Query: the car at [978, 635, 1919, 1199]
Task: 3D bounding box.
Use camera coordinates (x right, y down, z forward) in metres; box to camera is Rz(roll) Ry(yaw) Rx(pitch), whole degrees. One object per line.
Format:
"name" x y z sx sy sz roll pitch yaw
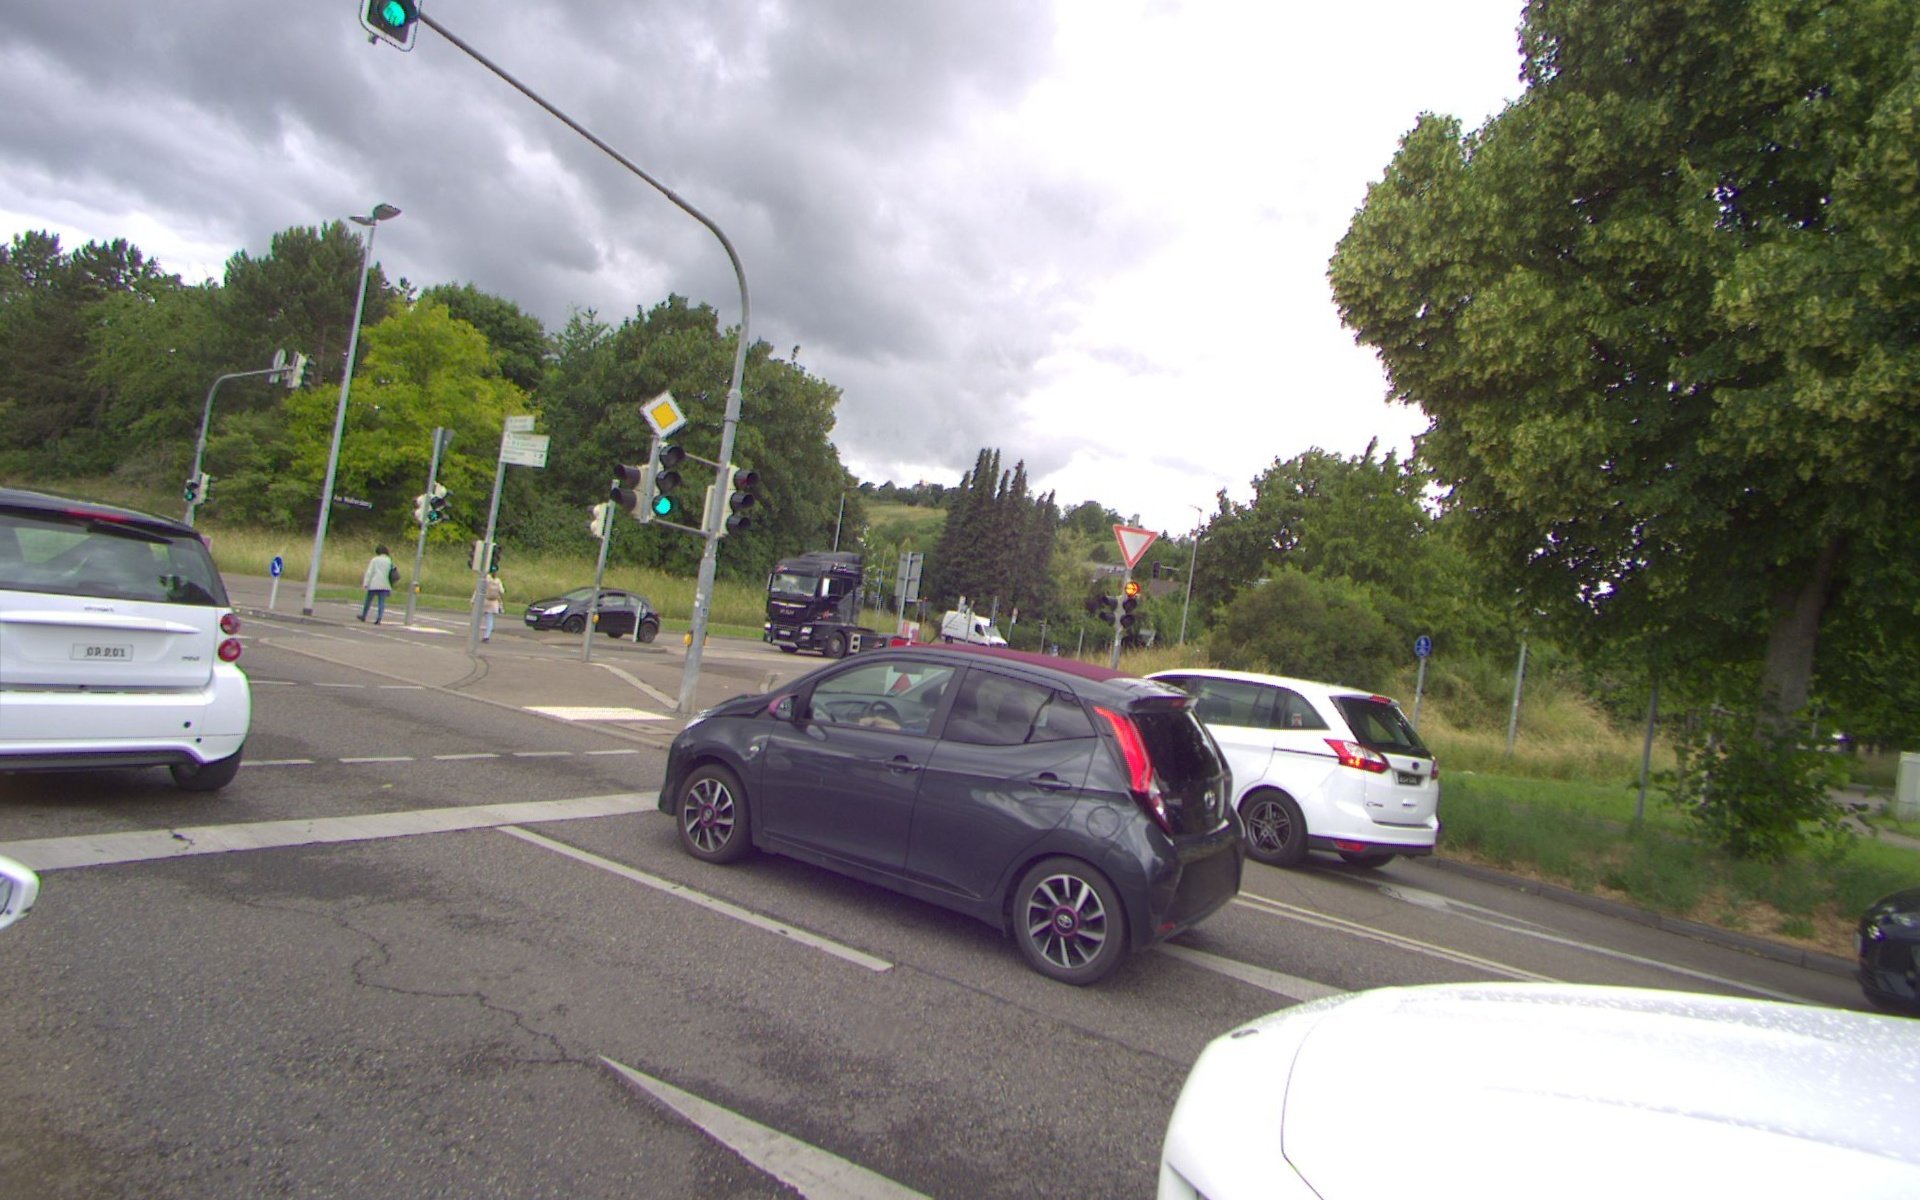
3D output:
"car" 2.372 1.097 0.896 4.454 1.524 1.848 6 -2 30

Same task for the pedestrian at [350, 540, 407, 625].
"pedestrian" -12.210 -0.364 21.119 0.703 1.681 0.644 6 -1 39

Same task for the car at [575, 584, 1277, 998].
"car" -0.312 0.883 6.010 3.817 1.470 1.616 6 -2 32

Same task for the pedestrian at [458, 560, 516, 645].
"pedestrian" -9.706 0.055 20.638 0.703 1.630 0.644 6 -1 37

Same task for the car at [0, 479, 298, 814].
"car" -5.337 0.143 5.665 2.721 1.533 1.595 6 -2 33

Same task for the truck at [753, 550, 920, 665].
"truck" -4.498 0.367 37.897 2.648 3.526 6.006 6 -2 34

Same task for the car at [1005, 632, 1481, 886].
"car" 2.615 1.448 10.263 1.752 1.673 4.325 10 -3 -37

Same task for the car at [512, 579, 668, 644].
"car" -10.559 0.373 28.965 1.669 1.353 3.882 6 -3 34

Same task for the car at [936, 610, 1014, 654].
"car" 1.074 2.411 75.969 5.747 2.661 1.991 5 -2 43

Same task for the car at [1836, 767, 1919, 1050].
"car" 7.150 1.983 5.367 3.511 1.524 1.603 6 -2 38
